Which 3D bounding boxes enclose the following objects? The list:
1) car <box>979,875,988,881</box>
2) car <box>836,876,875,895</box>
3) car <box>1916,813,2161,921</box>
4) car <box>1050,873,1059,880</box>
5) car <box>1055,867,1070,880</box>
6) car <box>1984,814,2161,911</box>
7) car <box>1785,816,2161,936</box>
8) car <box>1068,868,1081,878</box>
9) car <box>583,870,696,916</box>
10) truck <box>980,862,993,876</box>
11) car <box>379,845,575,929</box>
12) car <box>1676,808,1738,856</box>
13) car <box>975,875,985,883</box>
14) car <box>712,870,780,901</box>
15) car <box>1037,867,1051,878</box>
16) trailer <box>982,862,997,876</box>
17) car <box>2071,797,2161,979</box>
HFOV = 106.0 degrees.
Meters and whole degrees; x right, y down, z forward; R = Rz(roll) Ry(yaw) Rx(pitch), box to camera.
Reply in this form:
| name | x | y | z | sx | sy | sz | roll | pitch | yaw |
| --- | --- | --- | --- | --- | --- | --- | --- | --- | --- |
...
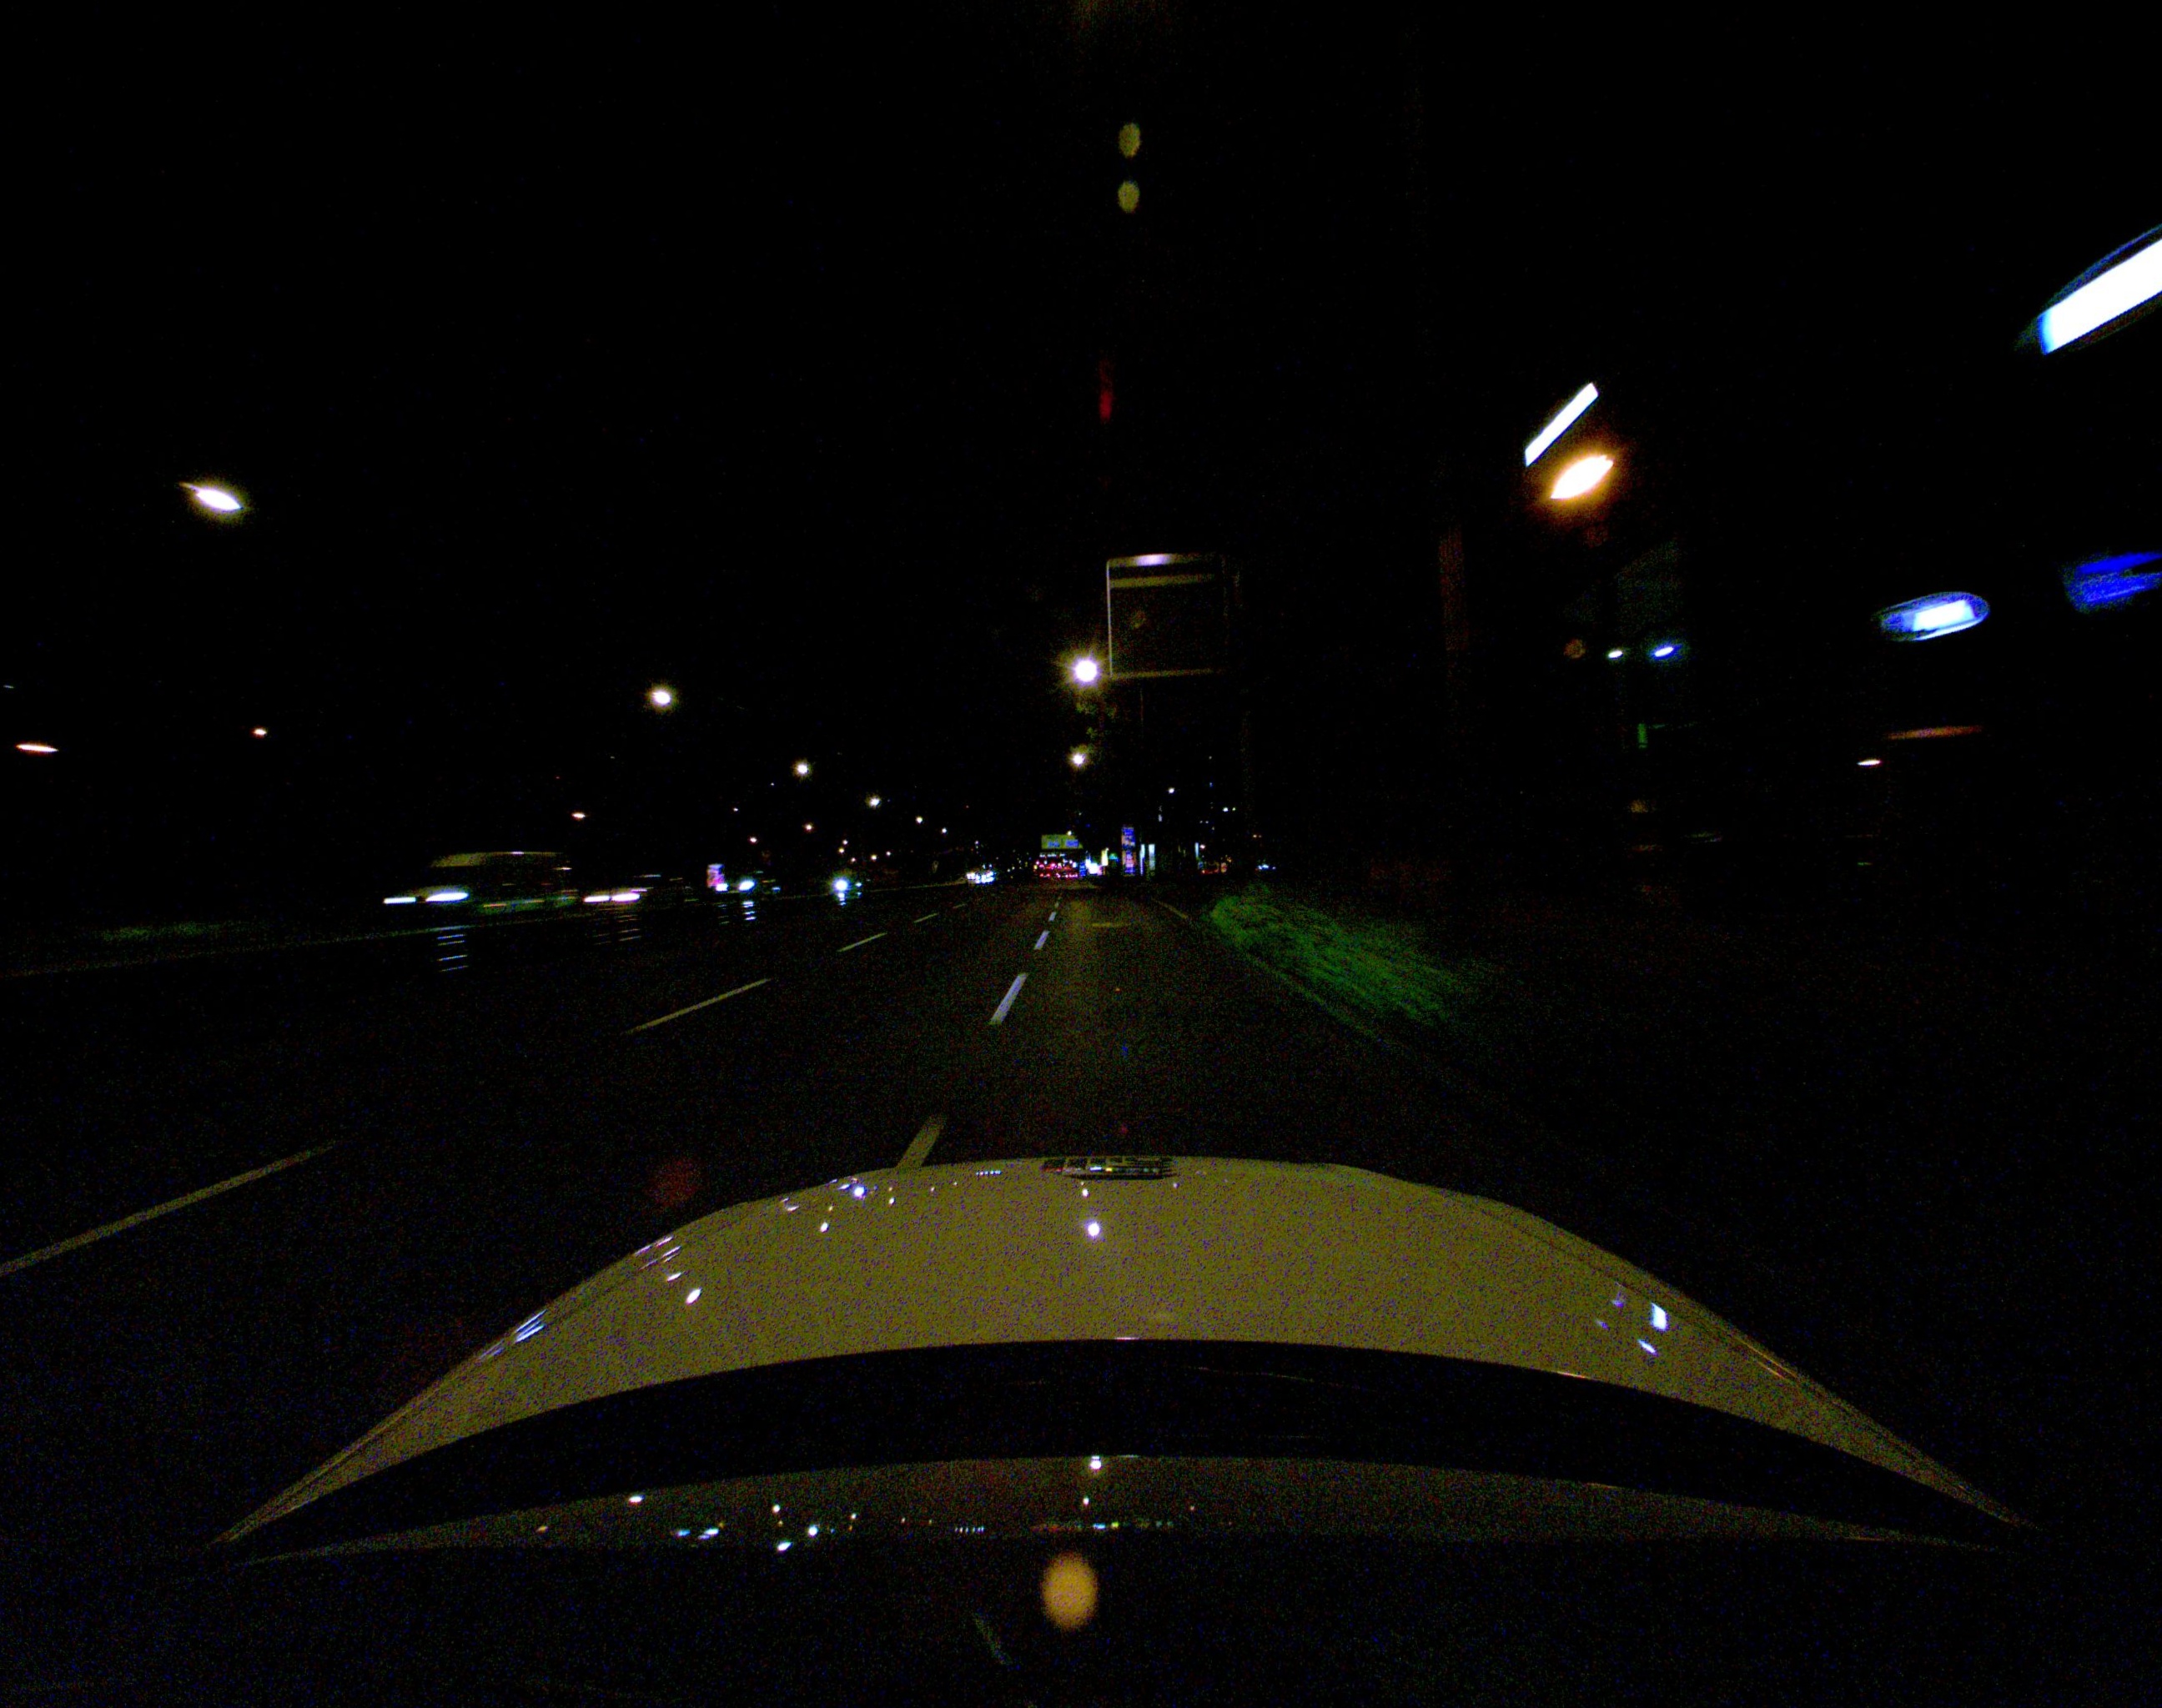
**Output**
| name | x | y | z | sx | sy | sz | roll | pitch | yaw |
| --- | --- | --- | --- | --- | --- | --- | --- | --- | --- |
| car | -26.180 | 6.413 | 219.205 | 1.906 | 1.474 | 3.769 | -1 | -1 | -2 |
| car | -18.581 | 2.592 | 67.336 | 1.860 | 1.429 | 4.955 | -1 | -1 | 0 |
| car | 20.809 | 0.251 | 17.120 | 1.808 | 1.994 | 4.402 | -1 | -1 | -4 |
| car | -6.171 | 5.211 | 189.184 | 1.988 | 1.553 | 3.998 | -1 | -1 | -1 |
| car | -3.373 | 3.534 | 148.784 | 2.347 | 2.129 | 4.828 | -1 | -1 | 2 |
| car | 23.198 | 0.168 | 17.767 | 1.948 | 1.994 | 4.402 | -1 | -1 | -4 |
| car | 17.935 | 0.406 | 16.655 | 1.989 | 2.014 | 5.621 | -1 | -1 | -3 |
| car | -1.343 | 4.136 | 174.951 | 2.418 | 2.113 | 4.828 | -1 | -1 | 2 |
| car | -16.113 | 1.386 | 29.993 | 1.614 | 1.440 | 4.339 | -3 | -1 | 1 |
| truck | -27.147 | 4.364 | 234.711 | 3.032 | 3.819 | 4.932 | -1 | -1 | -1 |
| car | -22.538 | 1.160 | 30.944 | 2.139 | 2.671 | 6.959 | -4 | -1 | 0 |
| car | 30.951 | -1.100 | 40.232 | 4.025 | 1.658 | 1.612 | -11 | 0 | -43 |
| car | -24.321 | 5.976 | 196.428 | 1.858 | 1.750 | 3.698 | -1 | -1 | -2 |
| car | -18.968 | 1.743 | 46.345 | 1.855 | 1.514 | 4.614 | -3 | -1 | 1 |
| car | -6.910 | 3.504 | 153.576 | 2.254 | 2.014 | 4.828 | -1 | -1 | 2 |
| trailer | -27.272 | 4.377 | 243.702 | 2.985 | 4.000 | 13.948 | -1 | -1 | -1 |
| car | 10.554 | 0.241 | 6.365 | 4.124 | 1.420 | 1.869 | -1 | -1 | -12 |
